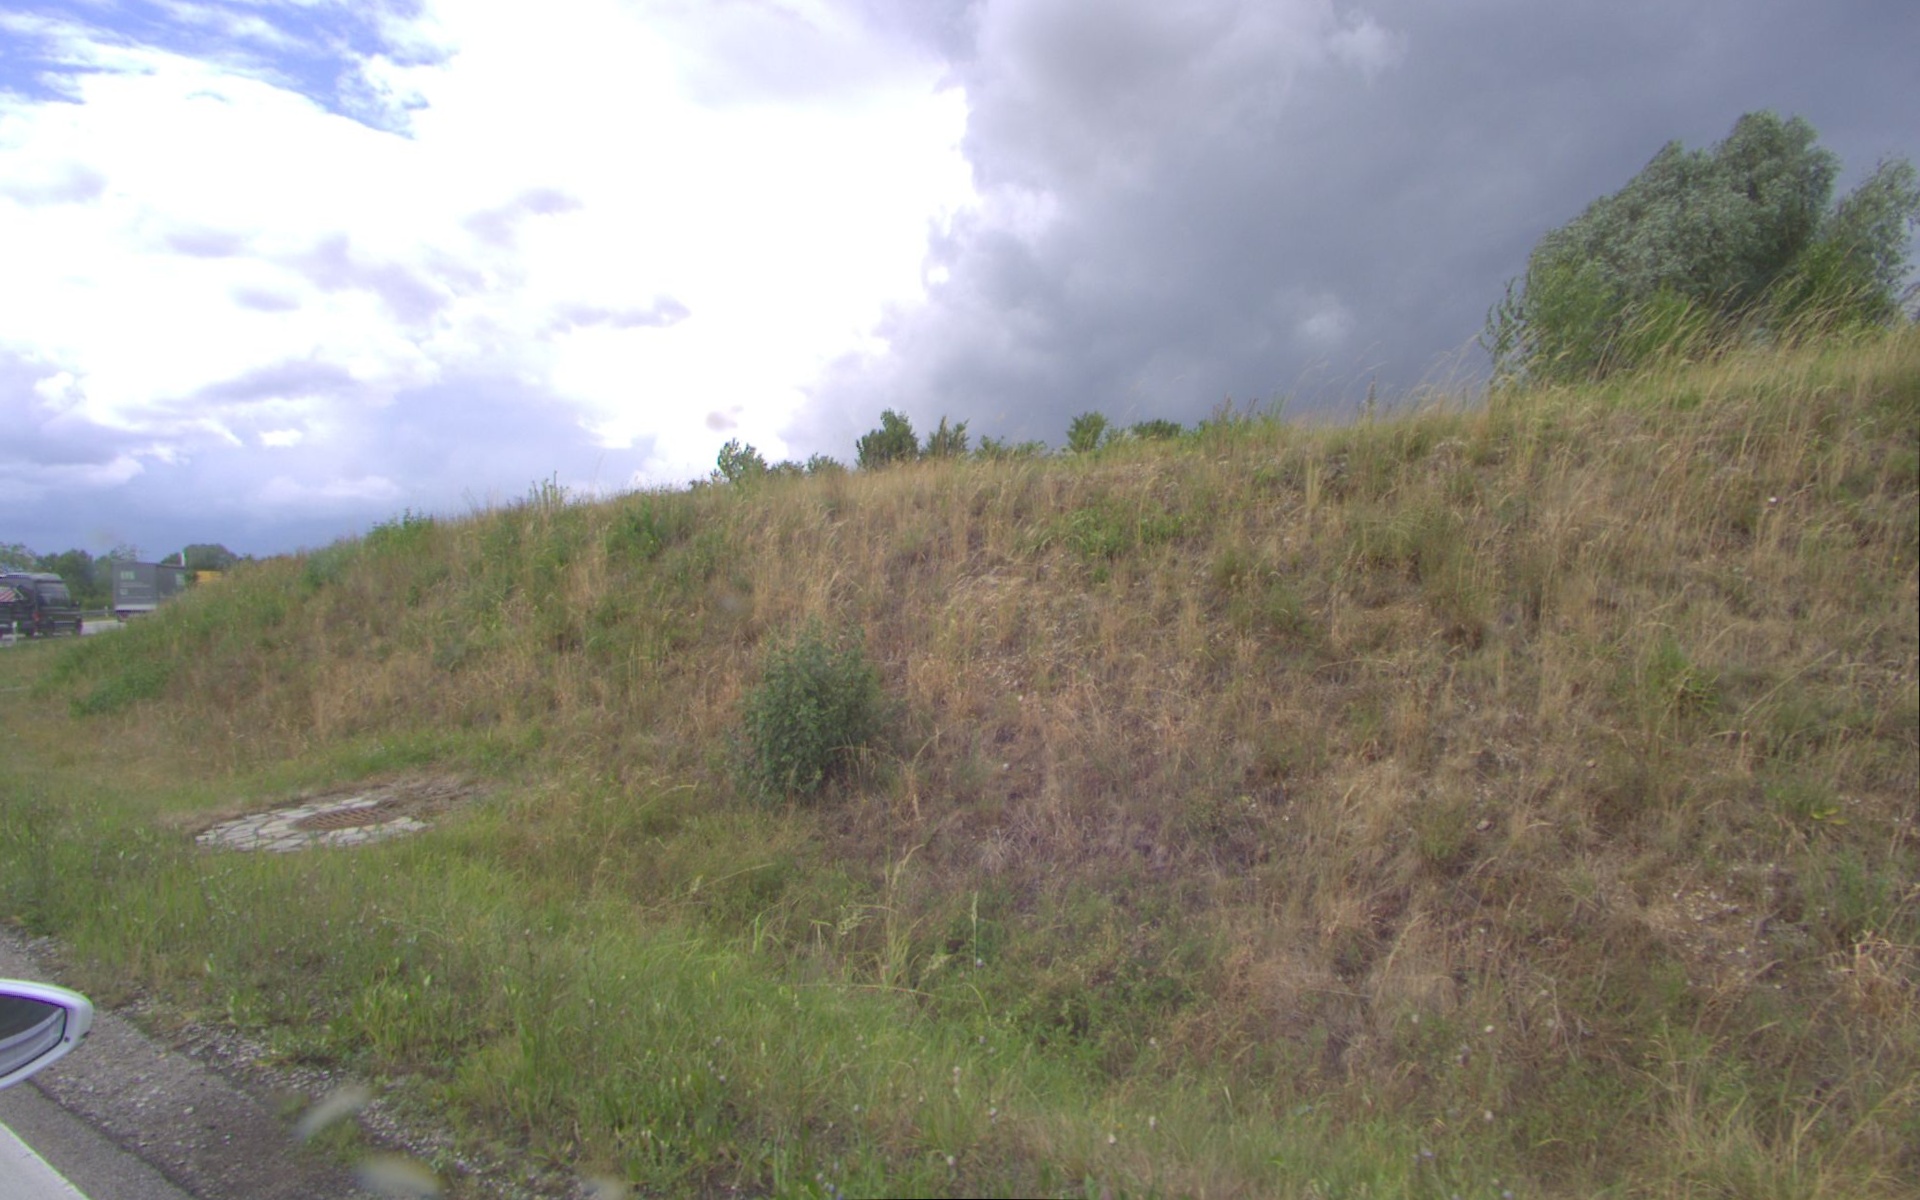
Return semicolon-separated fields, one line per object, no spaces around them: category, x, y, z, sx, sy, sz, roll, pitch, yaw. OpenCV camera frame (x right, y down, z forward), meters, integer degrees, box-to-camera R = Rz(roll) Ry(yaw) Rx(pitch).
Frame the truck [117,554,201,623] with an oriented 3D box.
truck;-49.411;-0.585;61.920;2.198;3.956;6.004;0;-2;-20

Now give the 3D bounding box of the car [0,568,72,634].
car;-42.067;0.091;45.338;2.083;2.832;3.977;1;-1;-32
